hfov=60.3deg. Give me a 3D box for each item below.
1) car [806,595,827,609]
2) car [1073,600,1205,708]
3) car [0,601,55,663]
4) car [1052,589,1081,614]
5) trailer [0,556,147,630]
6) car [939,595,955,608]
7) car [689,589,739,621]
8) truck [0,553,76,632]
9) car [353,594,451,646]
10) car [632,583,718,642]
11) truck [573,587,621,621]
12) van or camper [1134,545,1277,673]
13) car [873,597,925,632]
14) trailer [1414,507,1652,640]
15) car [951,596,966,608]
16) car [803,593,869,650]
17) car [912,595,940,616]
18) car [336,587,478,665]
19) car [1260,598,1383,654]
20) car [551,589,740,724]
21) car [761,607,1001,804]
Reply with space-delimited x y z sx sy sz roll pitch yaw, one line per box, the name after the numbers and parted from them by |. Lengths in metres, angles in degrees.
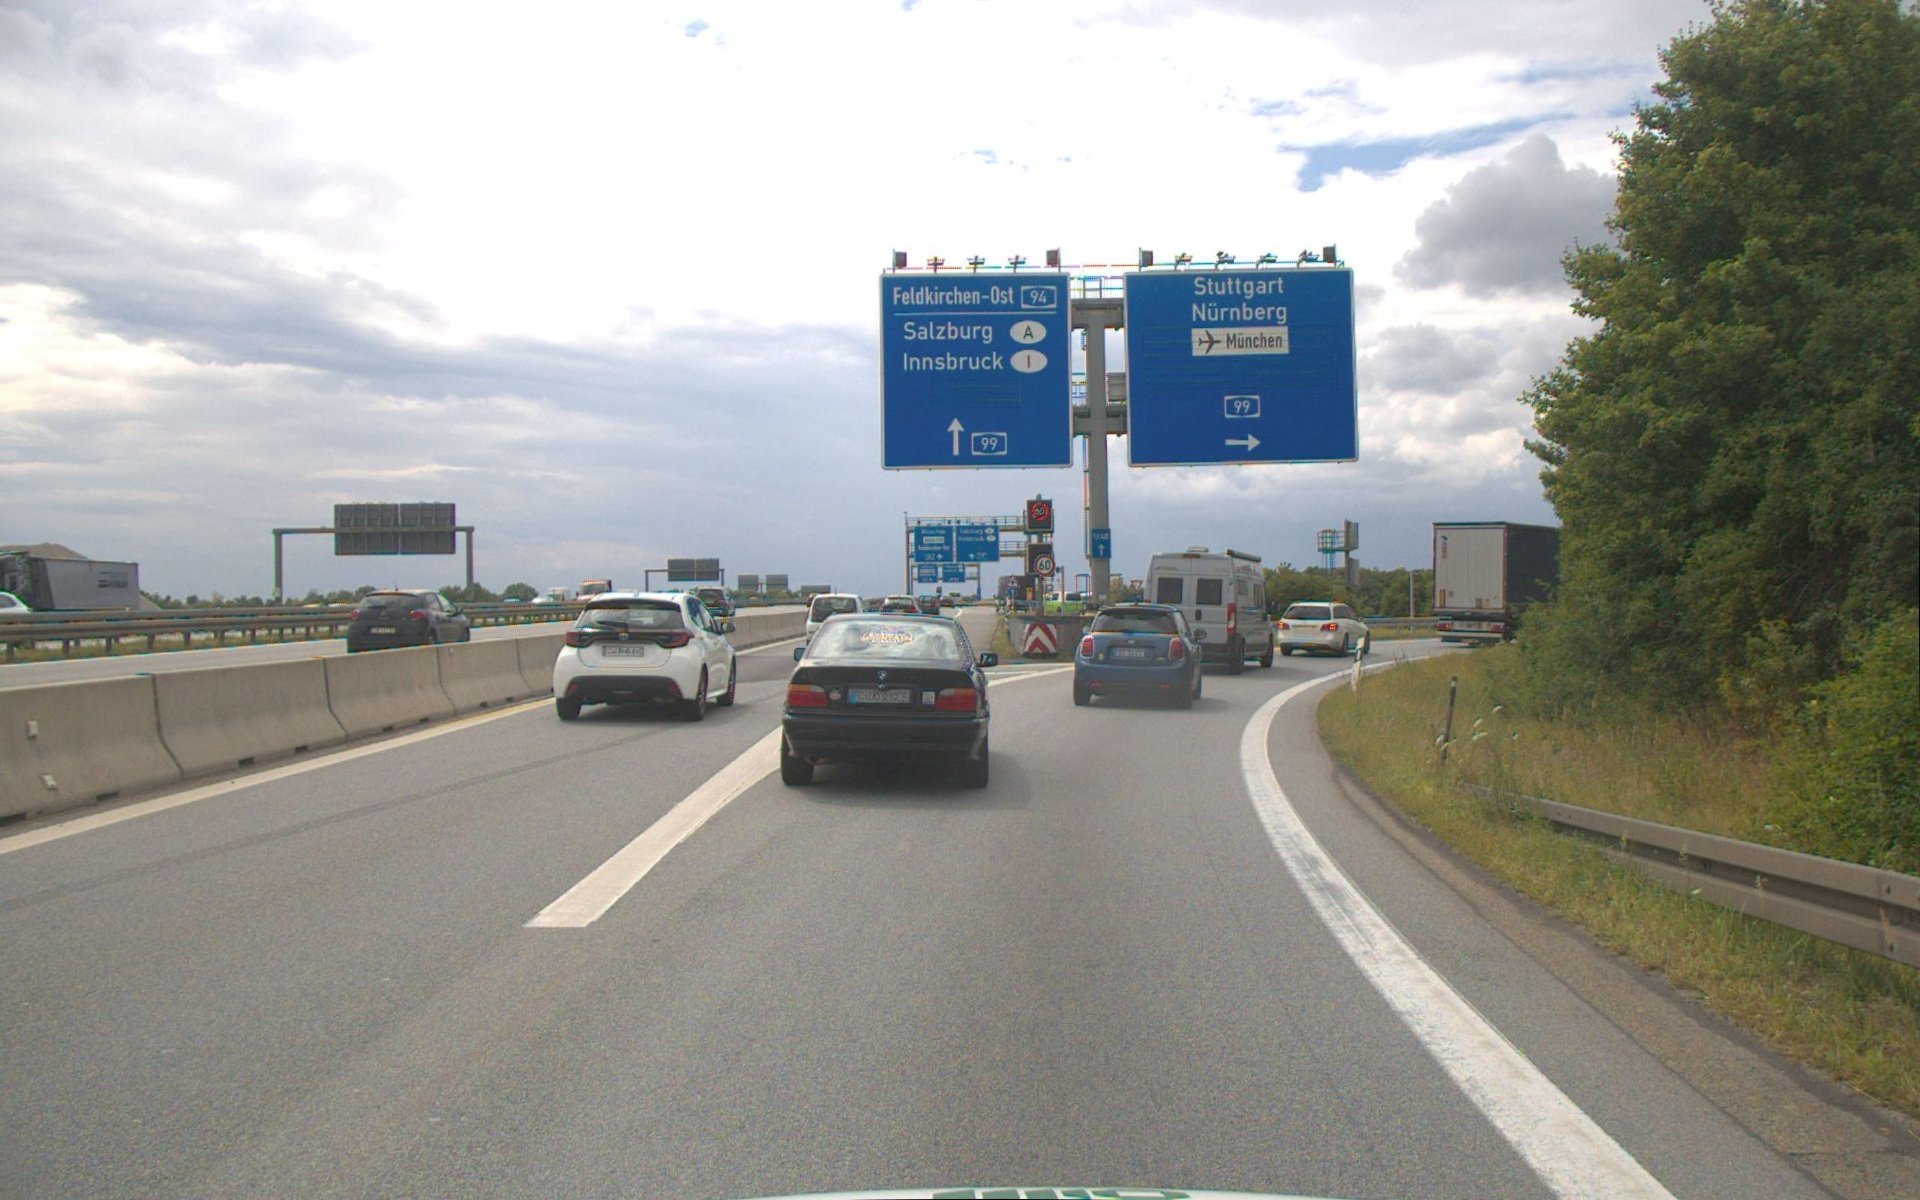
-15.866 0.246 182.970 1.952 1.494 4.001 0 0 1 | car
2.725 0.742 24.568 1.692 1.444 3.669 1 0 10 | car
-24.449 0.789 41.272 1.653 1.494 4.002 1 0 -3 | car
8.682 0.118 135.280 1.953 2.049 3.999 0 0 -2 | car
-42.706 -0.338 79.441 3.135 3.326 9.815 0 0 -5 | trailer
-1.439 0.130 184.531 1.766 1.449 4.001 0 0 1 | car
-13.183 0.256 88.852 1.953 1.713 4.866 0 0 0 | car
-42.208 -0.327 73.557 3.088 3.388 5.617 0 0 -5 | truck
-16.032 0.547 47.664 1.521 1.400 3.999 1 0 -1 | car
-8.618 0.365 50.320 1.953 1.736 4.000 0 0 0 | car
-26.229 0.255 119.655 2.230 2.411 6.199 0 0 -2 | truck
5.628 0.177 37.169 2.245 2.613 6.164 0 0 18 | van or camper
-2.626 0.618 72.045 1.952 1.494 4.002 0 0 3 | car
20.710 -0.852 58.986 3.282 4.266 12.952 0 0 42 | trailer
-0.195 0.199 207.130 1.766 1.449 4.001 0 0 1 | car
-3.430 0.573 46.200 1.552 1.510 3.535 0 0 0 | car
-2.325 0.361 114.229 1.828 1.449 4.000 0 0 0 | car
-11.688 0.519 35.206 1.738 1.557 3.999 0 0 -1 | car
10.379 0.704 47.178 2.164 1.527 4.779 0 0 29 | car
-3.824 0.632 20.666 1.666 1.534 3.839 0 0 -1 | car
-0.569 0.778 14.119 1.746 1.402 4.137 0 0 0 | car
